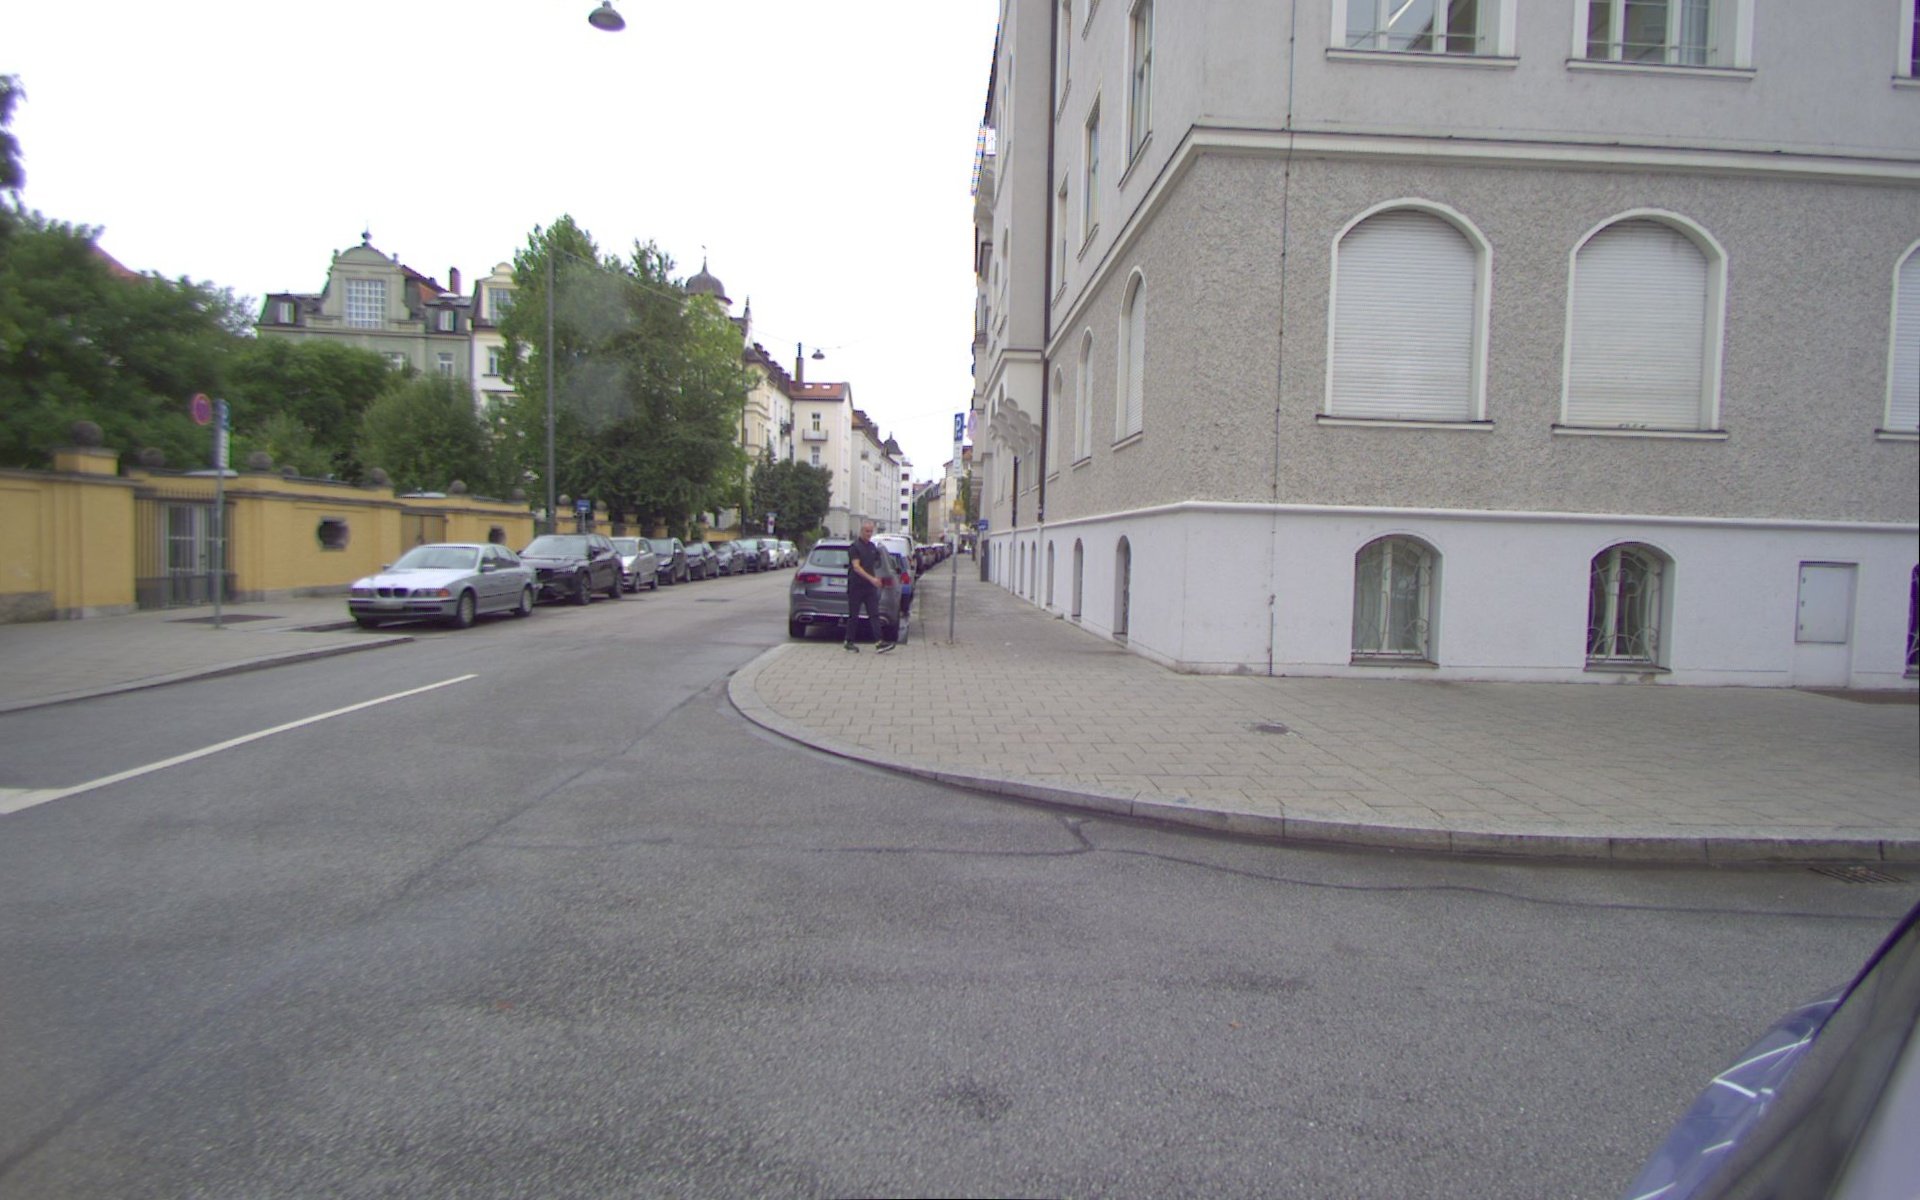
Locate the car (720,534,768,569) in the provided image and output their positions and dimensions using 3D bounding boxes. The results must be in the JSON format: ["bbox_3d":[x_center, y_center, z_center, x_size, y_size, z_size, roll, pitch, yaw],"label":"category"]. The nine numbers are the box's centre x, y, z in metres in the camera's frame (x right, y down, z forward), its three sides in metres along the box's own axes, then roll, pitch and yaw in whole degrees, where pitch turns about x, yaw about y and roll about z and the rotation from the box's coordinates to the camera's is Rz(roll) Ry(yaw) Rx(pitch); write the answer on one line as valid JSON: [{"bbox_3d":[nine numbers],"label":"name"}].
[{"bbox_3d":[-10.174,-2.305,47.803,1.761,1.565,3.309,1,3,-4],"label":"car"}]

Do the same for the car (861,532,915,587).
[{"bbox_3d":[-2.534,-1.463,35.539,1.762,1.804,3.846,1,3,-4],"label":"car"}]

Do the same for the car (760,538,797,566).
[{"bbox_3d":[-10.465,-2.781,58.460,1.761,1.565,3.309,1,3,-4],"label":"car"}]

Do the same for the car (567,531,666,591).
[{"bbox_3d":[-9.860,-1.169,29.315,1.761,1.565,3.963,1,3,-4],"label":"car"}]

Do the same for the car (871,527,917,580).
[{"bbox_3d":[-2.767,-1.946,41.885,1.782,2.059,4.041,1,3,-5],"label":"car"}]

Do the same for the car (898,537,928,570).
[{"bbox_3d":[-3.083,-3.044,65.287,1.782,2.059,4.041,1,3,-5],"label":"car"}]

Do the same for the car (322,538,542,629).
[{"bbox_3d":[-9.124,-0.382,17.968,1.766,1.385,4.471,1,3,-3],"label":"car"}]

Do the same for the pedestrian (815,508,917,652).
[{"bbox_3d":[-1.253,-0.295,13.519,0.983,1.822,0.928,-2,4,-43],"label":"pedestrian"}]

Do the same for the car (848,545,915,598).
[{"bbox_3d":[-2.371,-0.918,30.605,1.855,1.421,4.257,1,3,-5],"label":"car"}]

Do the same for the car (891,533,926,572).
[{"bbox_3d":[-2.870,-2.642,55.650,1.782,2.059,4.041,1,3,-5],"label":"car"}]

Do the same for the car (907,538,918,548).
[{"bbox_3d":[-7.881,-9.538,168.363,1.761,1.565,3.615,1,3,-4],"label":"car"}]

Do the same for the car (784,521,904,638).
[{"bbox_3d":[-1.984,-0.447,18.000,1.855,1.817,4.257,1,3,-5],"label":"car"}]

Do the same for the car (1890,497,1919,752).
[{"bbox_3d":[10.044,0.295,7.127,5.267,1.944,1.948,1,4,-4],"label":"car"}]

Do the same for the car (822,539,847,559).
[{"bbox_3d":[-9.980,-4.087,80.683,1.761,1.565,3.615,1,3,-4],"label":"car"}]

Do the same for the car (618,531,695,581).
[{"bbox_3d":[-10.071,-1.497,33.799,1.761,1.565,3.309,1,3,-4],"label":"car"}]

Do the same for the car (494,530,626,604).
[{"bbox_3d":[-9.276,-0.820,23.786,1.761,1.565,3.963,1,3,-4],"label":"car"}]

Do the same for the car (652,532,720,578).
[{"bbox_3d":[-10.027,-1.676,37.223,1.761,1.565,3.309,1,3,-4],"label":"car"}]

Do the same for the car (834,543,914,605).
[{"bbox_3d":[-2.193,-0.728,25.883,1.855,1.421,4.257,1,3,-5],"label":"car"}]

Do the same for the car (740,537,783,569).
[{"bbox_3d":[-10.385,-2.484,53.165,1.761,1.565,3.309,1,3,-4],"label":"car"}]

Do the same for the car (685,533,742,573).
[{"bbox_3d":[-10.156,-1.962,41.895,1.761,1.565,3.309,1,3,-4],"label":"car"}]
